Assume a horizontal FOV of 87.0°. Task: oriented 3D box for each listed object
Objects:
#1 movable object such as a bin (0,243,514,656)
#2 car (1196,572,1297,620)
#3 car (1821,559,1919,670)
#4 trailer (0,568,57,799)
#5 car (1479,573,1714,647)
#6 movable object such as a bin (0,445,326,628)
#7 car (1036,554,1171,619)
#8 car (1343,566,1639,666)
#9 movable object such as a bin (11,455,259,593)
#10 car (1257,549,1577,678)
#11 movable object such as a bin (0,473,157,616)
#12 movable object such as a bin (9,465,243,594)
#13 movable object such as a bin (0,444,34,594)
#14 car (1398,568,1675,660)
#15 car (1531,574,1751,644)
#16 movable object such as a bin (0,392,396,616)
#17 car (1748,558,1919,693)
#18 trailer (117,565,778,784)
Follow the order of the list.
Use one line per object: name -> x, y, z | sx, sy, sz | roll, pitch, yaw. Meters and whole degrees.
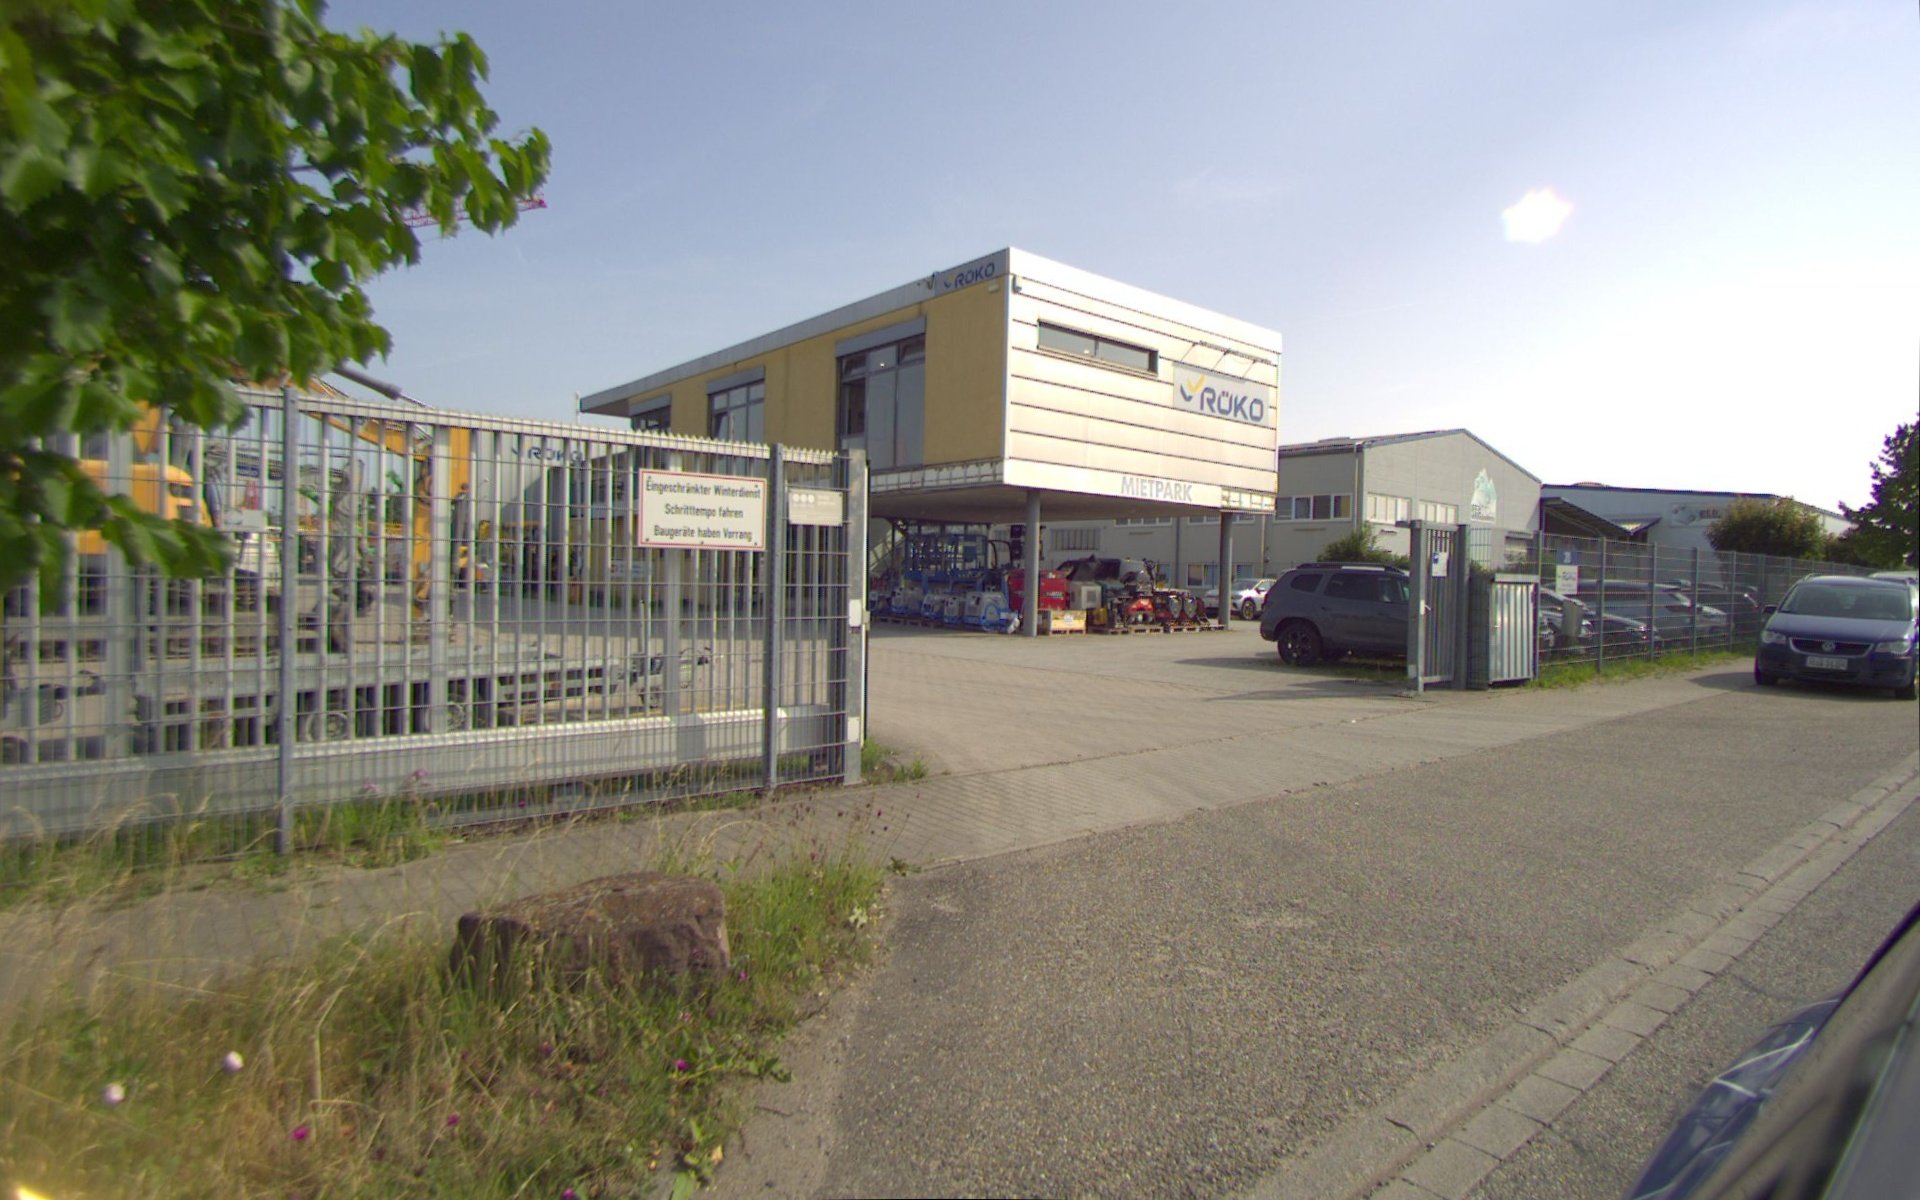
movable object such as a bin -> -10.917, -1.810, 14.545 | 7.539, 4.866, 3.322 | 1, 1, -41
car -> 11.079, -0.157, 38.981 | 4.299, 1.712, 1.890 | 0, 1, -45
car -> 17.329, 0.196, 18.185 | 4.517, 1.811, 1.999 | -1, 2, -39
trailer -> -7.402, 0.441, 5.087 | 4.219, 1.259, 1.948 | 0, 2, -41
car -> 13.687, 0.149, 21.913 | 1.761, 1.388, 3.991 | 0, 2, -44
movable object such as a bin -> -14.502, -0.998, 16.938 | 6.238, 2.749, 2.705 | 1, 2, -41
car -> 4.696, -0.478, 33.604 | 1.861, 2.027, 4.368 | 1, 1, -38
car -> 9.211, 0.211, 17.816 | 1.867, 1.514, 4.230 | 1, 1, -43
movable object such as a bin -> -26.145, -2.280, 32.222 | 5.924, 3.977, 2.720 | -1, 3, -44
car -> 7.089, 0.120, 15.962 | 4.225, 1.759, 1.870 | 2, 1, 44
movable object such as a bin -> -19.836, -1.140, 20.408 | 5.591, 2.803, 2.058 | 1, 2, -41
movable object such as a bin -> -27.995, -2.253, 34.133 | 5.924, 3.977, 2.720 | -1, 3, -44
movable object such as a bin -> -28.354, -2.178, 25.747 | 7.082, 3.977, 2.469 | -1, 3, -44
car -> 10.878, 0.205, 19.320 | 1.867, 1.514, 4.230 | 1, 1, -43
car -> 15.745, 0.183, 23.528 | 1.761, 1.496, 3.990 | 0, 0, -44
movable object such as a bin -> -15.973, -1.746, 20.873 | 7.082, 3.978, 2.924 | 1, 2, -41
car -> 13.405, 0.278, 15.085 | 4.175, 1.741, 1.829 | -1, 2, -41
trailer -> -3.965, 0.390, 8.314 | 4.481, 1.327, 1.998 | -1, 2, -39
